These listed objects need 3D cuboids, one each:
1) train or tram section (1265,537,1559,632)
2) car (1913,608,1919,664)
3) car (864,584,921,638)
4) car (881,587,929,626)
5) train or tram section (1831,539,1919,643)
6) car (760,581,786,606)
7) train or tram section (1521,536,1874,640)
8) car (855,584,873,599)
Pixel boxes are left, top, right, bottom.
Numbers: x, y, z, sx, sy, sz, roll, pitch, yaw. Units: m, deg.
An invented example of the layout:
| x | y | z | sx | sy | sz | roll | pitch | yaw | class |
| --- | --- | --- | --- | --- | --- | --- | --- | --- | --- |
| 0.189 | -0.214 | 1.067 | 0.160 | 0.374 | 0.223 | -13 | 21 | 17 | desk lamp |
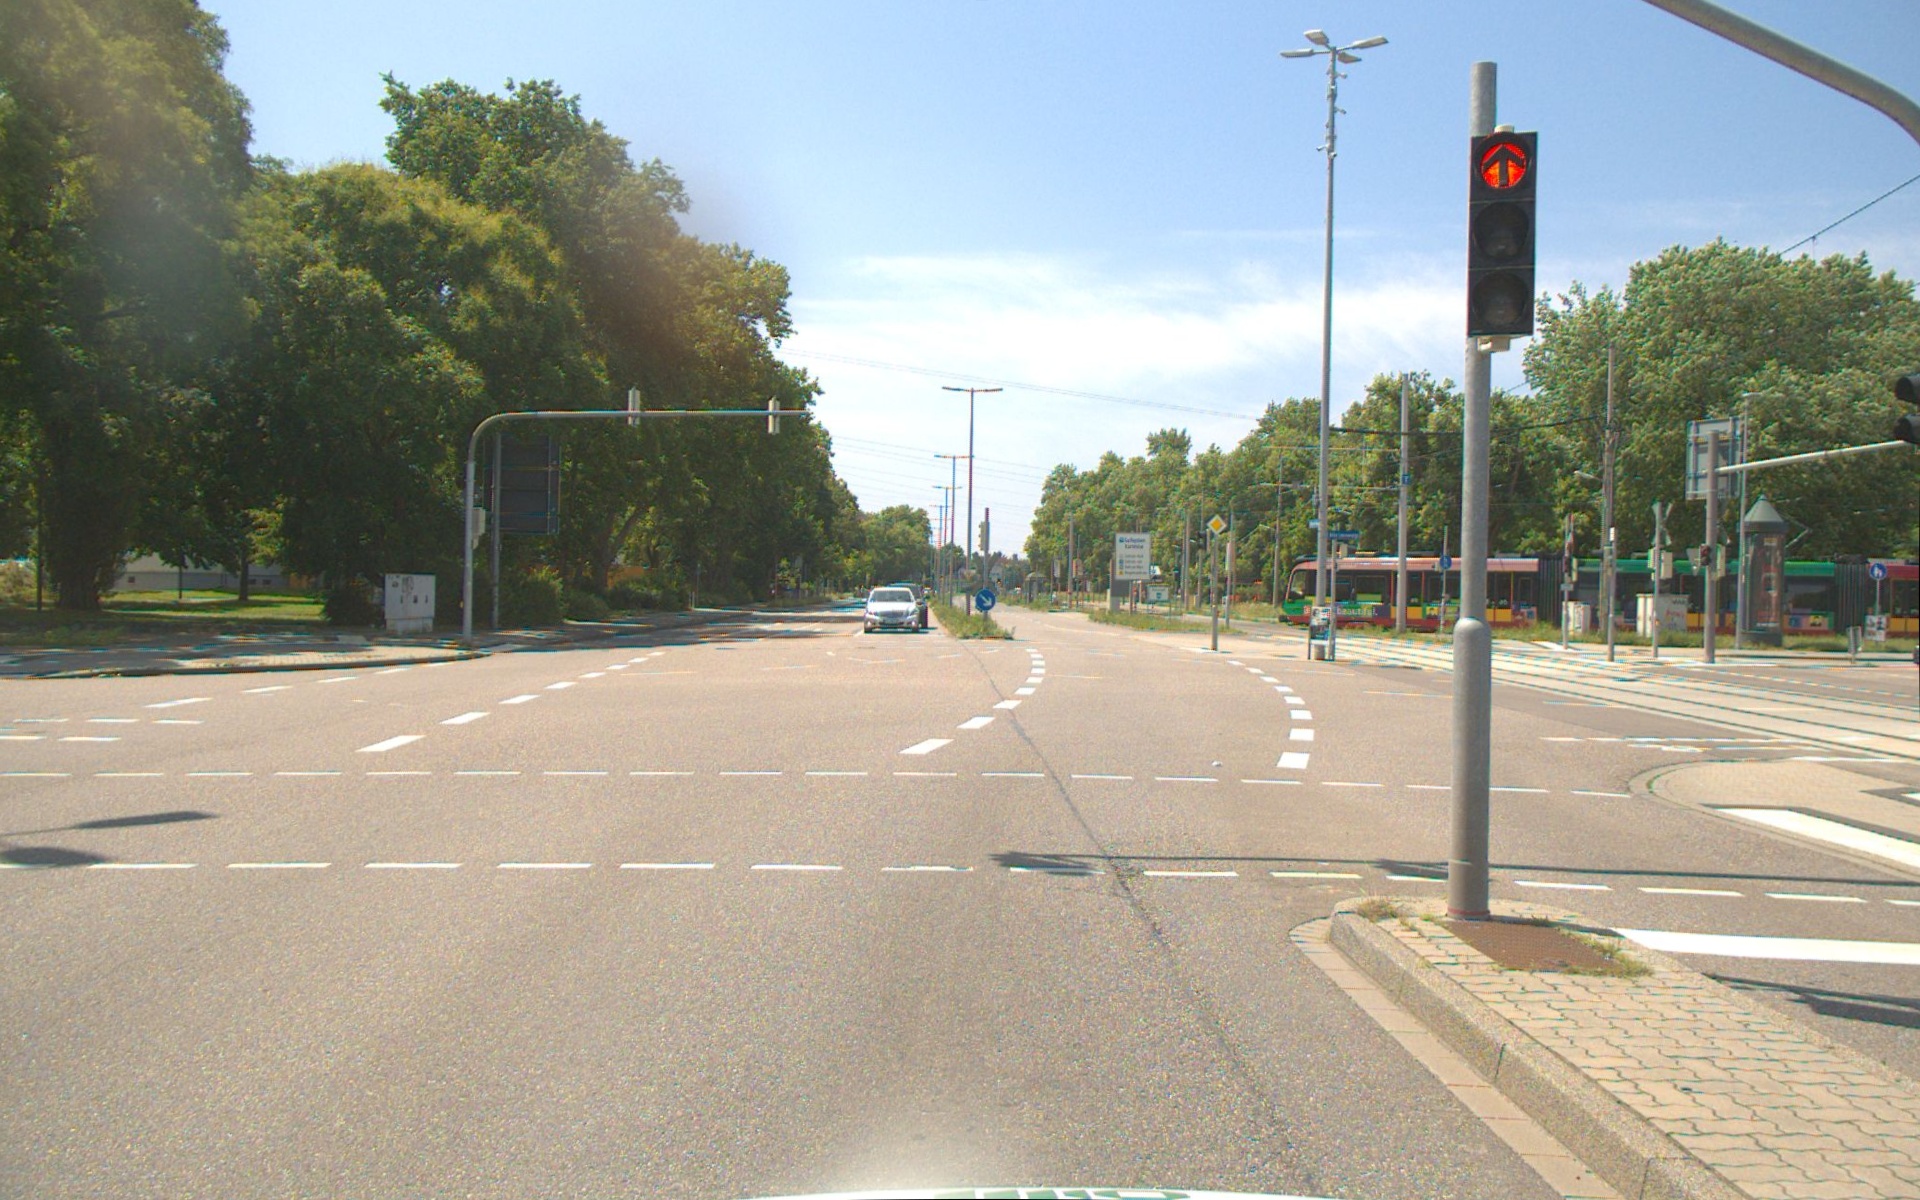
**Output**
| x | y | z | sx | sy | sz | roll | pitch | yaw | class |
| --- | --- | --- | --- | --- | --- | --- | --- | --- | --- |
| 20.189 | -0.638 | 74.883 | 12.836 | 3.878 | 2.907 | 0 | -3 | 41 | train or tram section |
| 27.530 | 0.998 | 44.785 | 3.465 | 1.488 | 1.622 | 1 | 0 | -33 | car |
| -2.198 | 0.335 | 54.646 | 1.748 | 1.657 | 3.865 | 1 | 0 | -1 | car |
| -2.028 | 0.214 | 61.906 | 1.676 | 1.389 | 3.865 | 1 | 0 | -1 | car |
| 43.496 | -0.082 | 69.286 | 13.749 | 3.988 | 2.915 | 3 | -3 | -12 | train or tram section |
| -16.380 | -0.580 | 144.927 | 1.955 | 2.048 | 3.997 | 4 | 0 | -4 | car |
| 30.542 | -0.510 | 69.216 | 13.128 | 3.878 | 2.925 | 2 | -3 | 15 | train or tram section |
| -9.482 | -0.845 | 163.168 | 1.637 | 1.516 | 3.710 | 1 | 0 | -1 | car |
